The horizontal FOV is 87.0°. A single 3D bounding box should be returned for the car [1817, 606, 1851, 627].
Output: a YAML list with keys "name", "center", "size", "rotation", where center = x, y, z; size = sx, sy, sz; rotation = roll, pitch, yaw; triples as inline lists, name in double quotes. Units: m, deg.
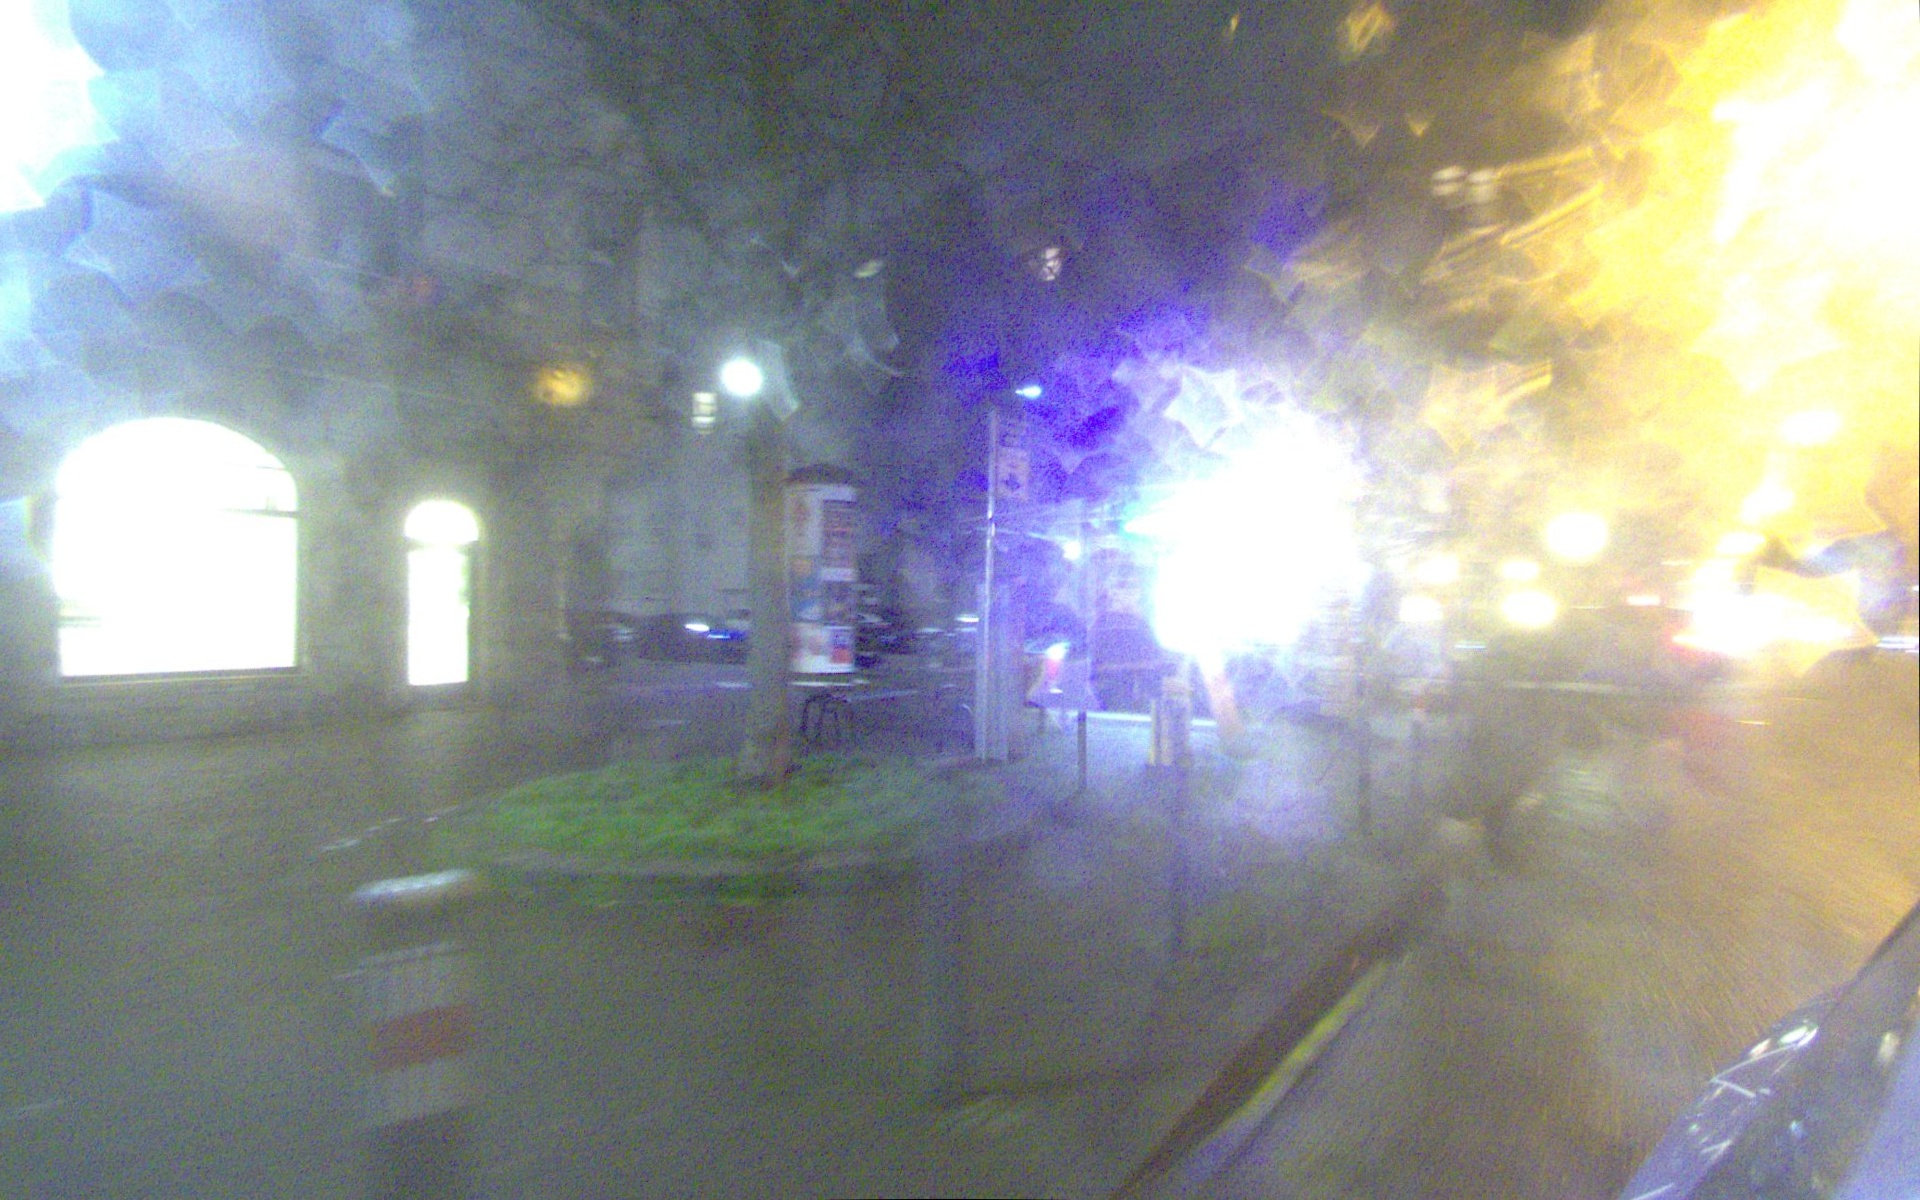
- name: "car"
  center: [62.912, 1.195, 72.899]
  size: [1.565, 1.478, 3.669]
  rotation: [-1, -1, 37]

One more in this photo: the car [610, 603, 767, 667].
- name: "car"
  center: [-8.153, 0.993, 30.249]
  size: [4.660, 1.765, 1.978]
  rotation: [-1, -1, 34]

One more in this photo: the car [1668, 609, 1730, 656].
- name: "car"
  center: [25.870, 1.105, 35.470]
  size: [1.685, 1.517, 3.840]
  rotation: [0, 0, 36]

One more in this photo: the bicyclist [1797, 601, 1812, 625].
- name: "bicyclist"
  center: [56.030, 0.872, 67.173]
  size: [0.716, 1.576, 0.883]
  rotation: [0, 0, 37]

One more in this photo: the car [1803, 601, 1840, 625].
- name: "car"
  center: [68.862, 1.062, 80.958]
  size: [1.898, 1.853, 4.764]
  rotation: [-1, -1, 37]

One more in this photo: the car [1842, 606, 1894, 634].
- name: "car"
  center: [52.937, 1.136, 59.055]
  size: [1.762, 1.502, 4.707]
  rotation: [-5, -3, 37]

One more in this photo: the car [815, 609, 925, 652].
- name: "car"
  center: [-3.243, 1.048, 36.076]
  size: [3.959, 1.477, 1.587]
  rotation: [-1, -1, 39]

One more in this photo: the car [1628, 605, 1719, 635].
- name: "car"
  center: [44.168, 1.218, 62.687]
  size: [4.503, 1.549, 1.756]
  rotation: [4, 2, 37]

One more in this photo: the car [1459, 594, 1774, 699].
- name: "car"
  center: [12.041, 0.771, 18.926]
  size: [1.888, 1.638, 4.581]
  rotation: [1, 0, -29]

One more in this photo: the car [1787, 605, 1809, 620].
- name: "car"
  center: [86.584, 1.333, 104.537]
  size: [1.691, 1.498, 3.333]
  rotation: [-1, -2, 41]

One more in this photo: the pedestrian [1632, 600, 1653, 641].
- name: "pedestrian"
  center: [31.015, 0.919, 45.974]
  size: [0.702, 1.811, 0.615]
  rotation: [2, -1, 40]

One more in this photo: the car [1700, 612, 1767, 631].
- name: "car"
  center: [62.214, 1.751, 81.452]
  size: [1.717, 1.394, 4.006]
  rotation: [-2, -1, -15]

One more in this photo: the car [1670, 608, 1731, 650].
- name: "car"
  center: [29.052, 1.094, 39.791]
  size: [1.682, 1.517, 3.845]
  rotation: [0, 0, 33]

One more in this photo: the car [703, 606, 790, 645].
- name: "car"
  center: [-8.498, 0.985, 40.168]
  size: [3.398, 1.477, 1.587]
  rotation: [-1, -1, 39]

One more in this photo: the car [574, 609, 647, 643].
- name: "car"
  center: [-15.968, 1.151, 46.166]
  size: [3.398, 1.477, 1.587]
  rotation: [-1, -1, 39]

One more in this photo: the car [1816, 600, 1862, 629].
- name: "car"
  center: [59.944, 0.977, 69.097]
  size: [1.991, 1.853, 5.136]
  rotation: [-1, -1, 37]

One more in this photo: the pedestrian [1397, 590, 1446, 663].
- name: "pedestrian"
  center: [12.000, 0.684, 26.282]
  size: [0.861, 1.811, 1.067]
  rotation: [2, -1, 40]

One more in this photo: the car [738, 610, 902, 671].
- name: "car"
  center: [-3.819, 1.045, 27.311]
  size: [4.389, 1.522, 1.750]
  rotation: [-1, -1, 34]

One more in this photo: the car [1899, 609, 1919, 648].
- name: "car"
  center: [39.422, 1.107, 40.939]
  size: [1.667, 1.510, 3.672]
  rotation: [-2, -1, 36]

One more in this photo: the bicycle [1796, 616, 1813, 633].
- name: "bicycle"
  center: [56.052, 1.601, 67.211]
  size: [0.725, 1.086, 2.317]
  rotation: [0, 0, 36]

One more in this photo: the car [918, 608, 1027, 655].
- name: "car"
  center: [0.391, 1.024, 33.563]
  size: [3.398, 1.477, 1.587]
  rotation: [-1, -1, 39]

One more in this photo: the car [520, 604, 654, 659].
- name: "car"
  center: [-12.774, 1.020, 34.607]
  size: [4.660, 1.765, 1.978]
  rotation: [-1, -1, 34]

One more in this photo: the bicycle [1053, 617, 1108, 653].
- name: "bicycle"
  center: [3.762, 1.084, 31.569]
  size: [0.699, 1.023, 1.955]
  rotation: [-4, -2, 41]
